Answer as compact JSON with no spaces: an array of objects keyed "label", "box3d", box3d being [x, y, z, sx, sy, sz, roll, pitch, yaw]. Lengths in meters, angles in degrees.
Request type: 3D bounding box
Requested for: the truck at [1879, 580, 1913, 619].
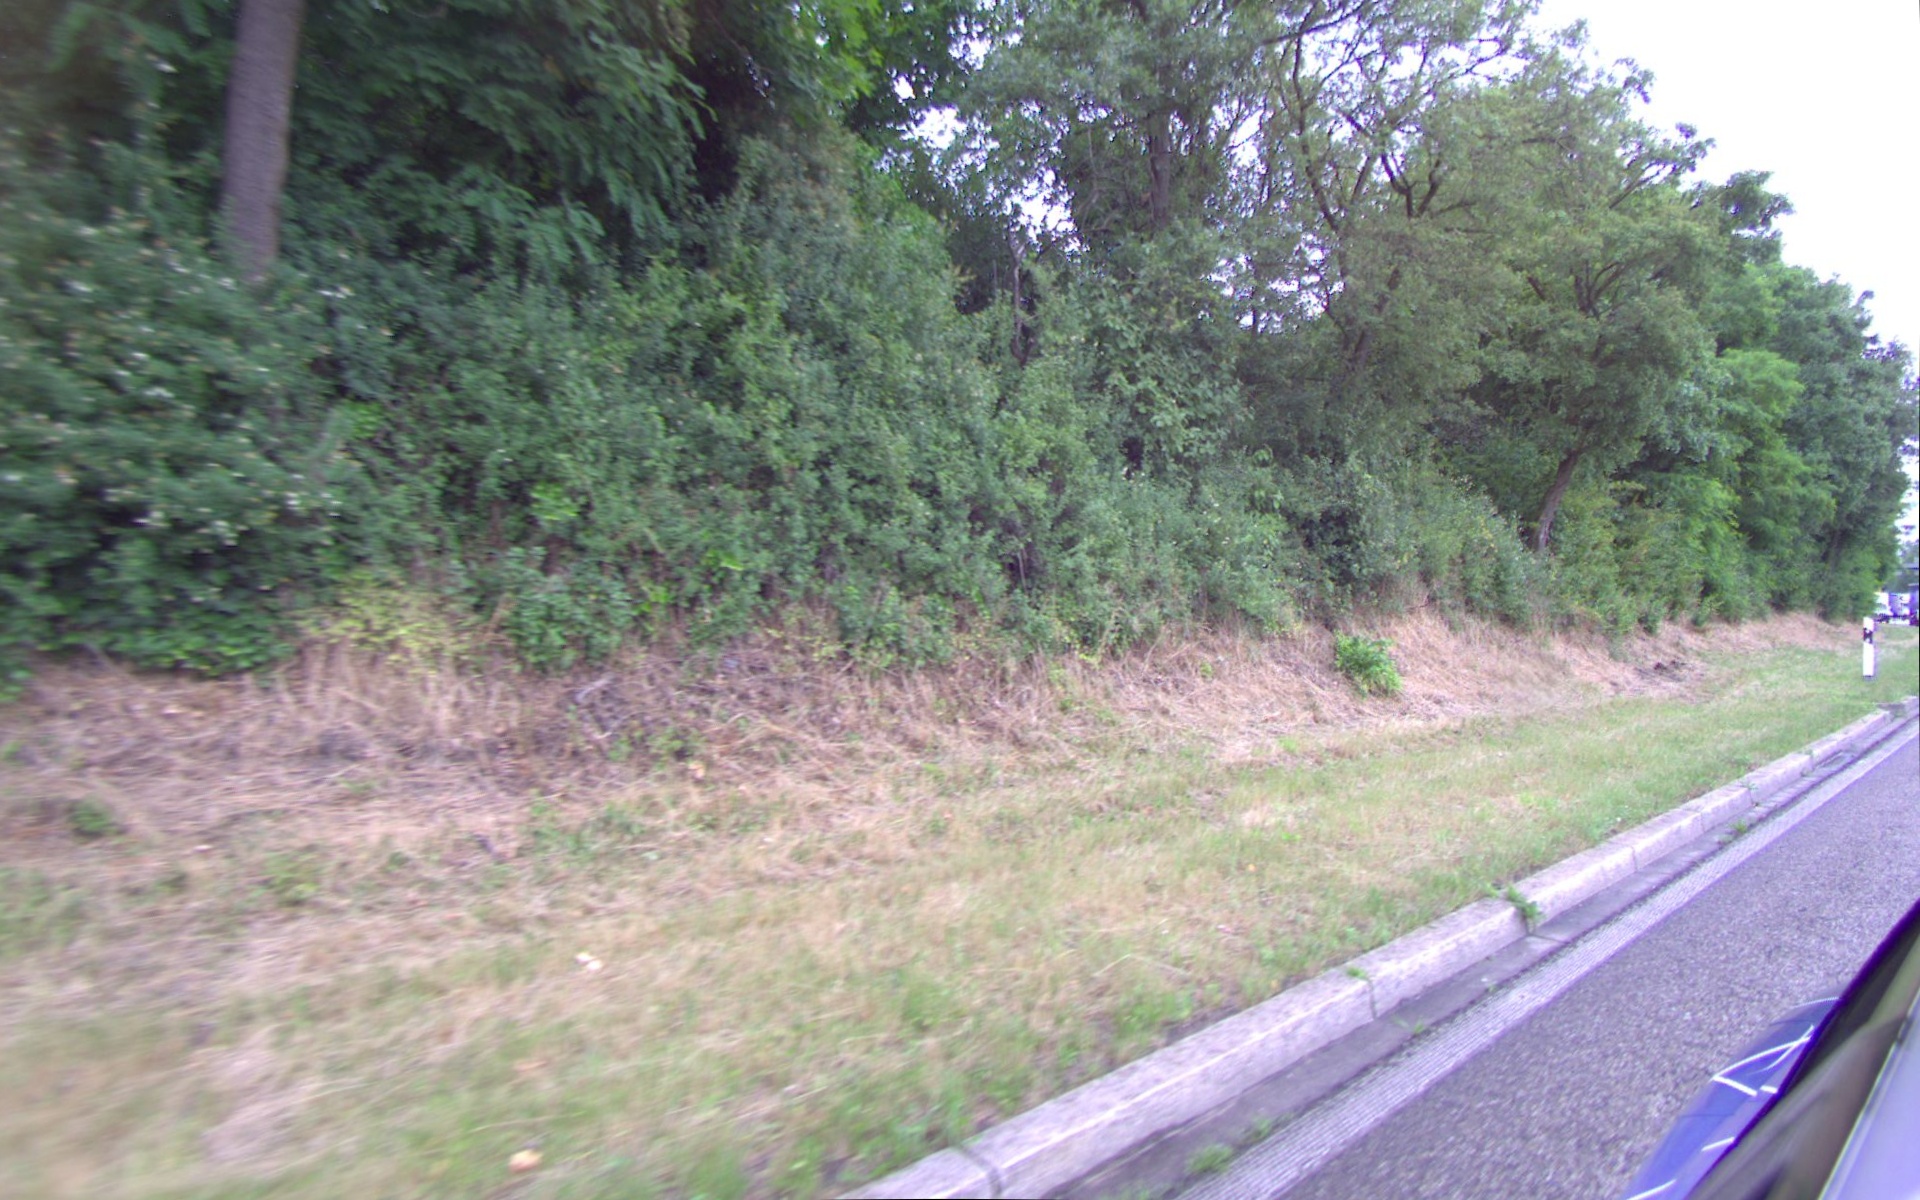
[{"label":"truck","box3d":[99.617,-0.018,107.771,2.244,4.023,6.534,1,0,39]}]
